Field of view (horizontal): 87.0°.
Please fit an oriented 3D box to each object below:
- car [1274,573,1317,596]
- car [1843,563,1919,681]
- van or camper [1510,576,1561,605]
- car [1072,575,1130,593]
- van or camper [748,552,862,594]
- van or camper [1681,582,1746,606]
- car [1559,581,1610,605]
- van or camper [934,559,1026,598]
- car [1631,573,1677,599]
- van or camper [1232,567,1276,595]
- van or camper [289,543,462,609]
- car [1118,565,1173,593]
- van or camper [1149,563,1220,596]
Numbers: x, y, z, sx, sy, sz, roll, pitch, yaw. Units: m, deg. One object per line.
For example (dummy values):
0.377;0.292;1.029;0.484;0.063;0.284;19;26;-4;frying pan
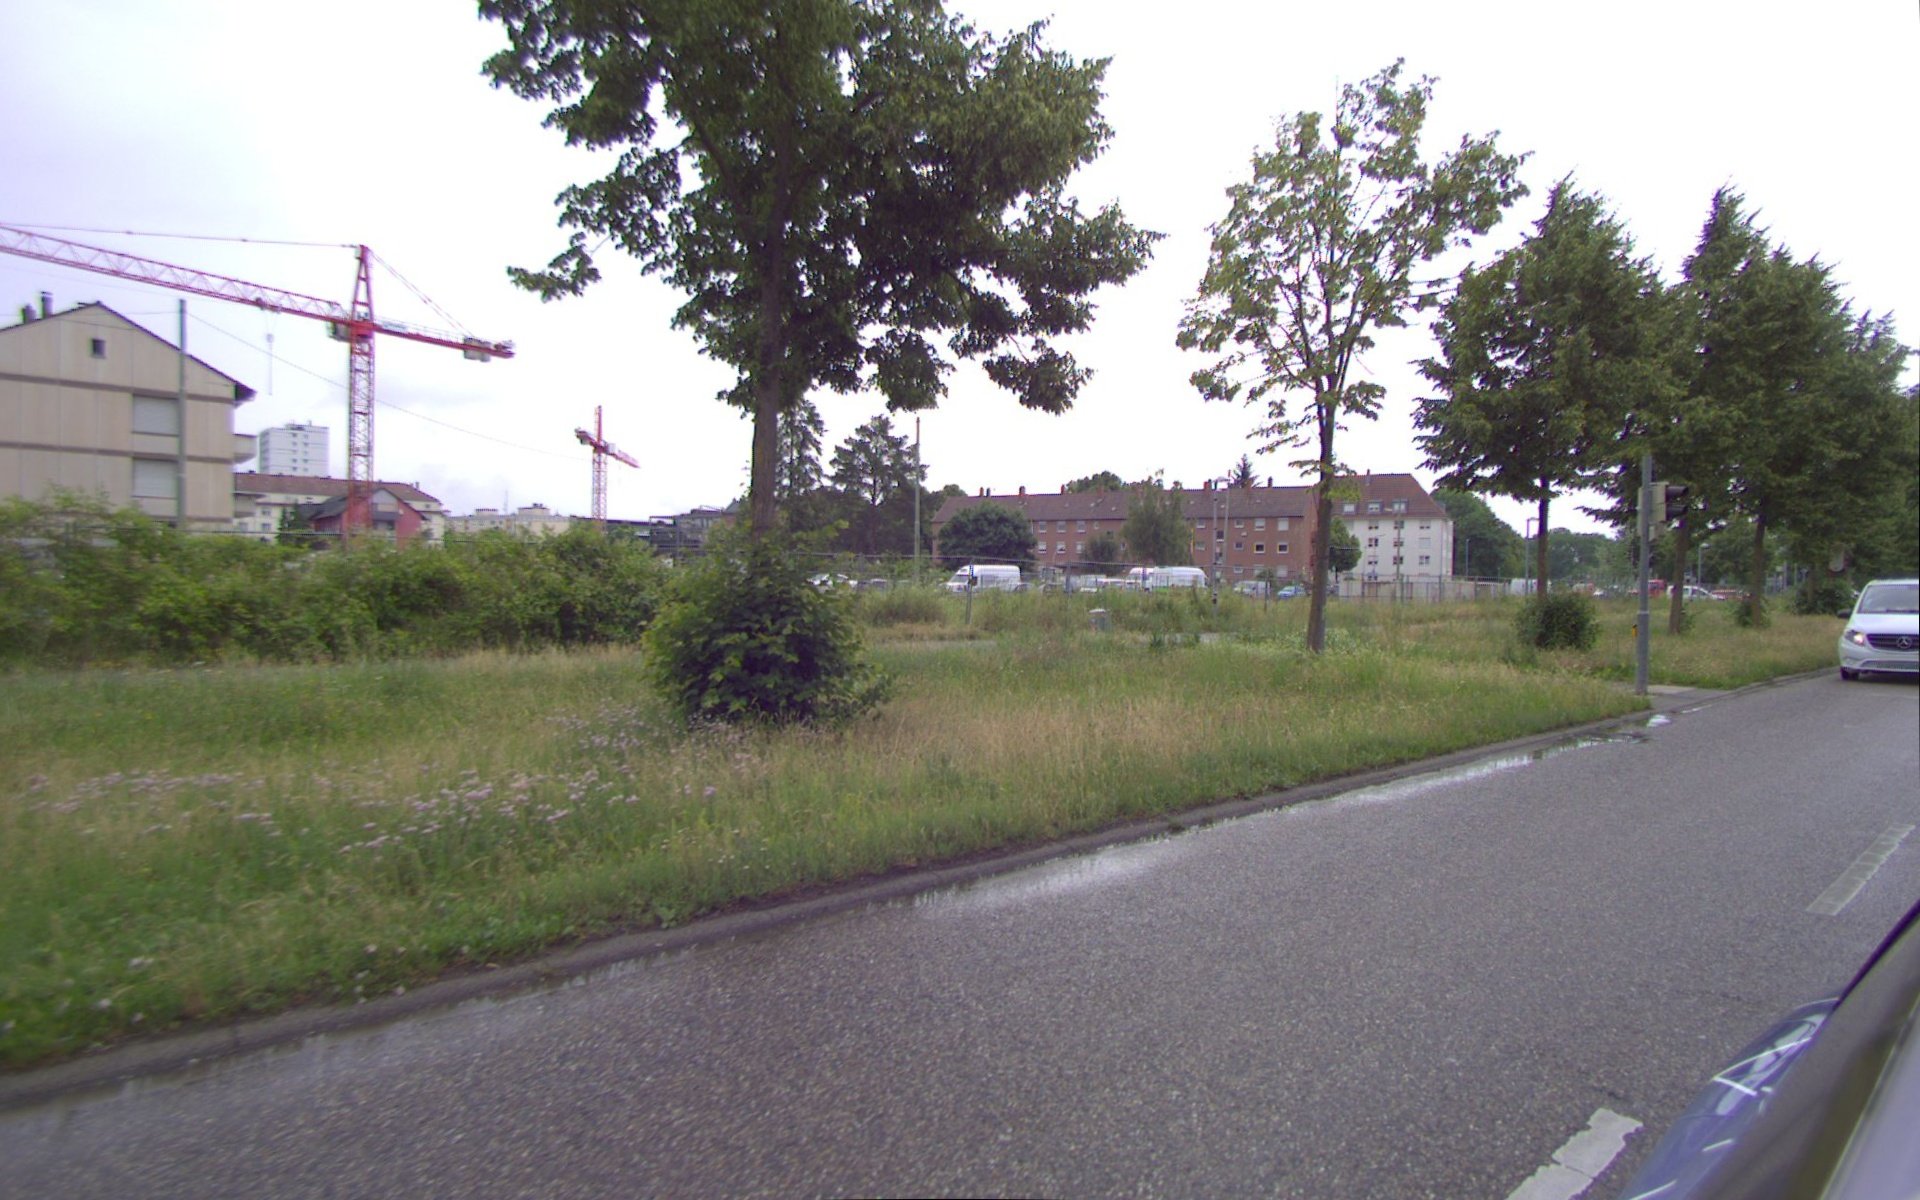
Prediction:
33.885;-1.567;102.177;4.681;2.247;2.273;0;1;-44;car
18.168;0.341;18.824;5.003;2.004;1.971;-1;2;-41;car
62.425;-1.057;109.724;5.400;3.073;2.349;0;0;-30;van or camper
11.144;-1.265;79.701;4.681;1.369;2.092;0;1;-44;car
-9.212;-1.553;60.718;6.536;2.337;2.505;0;0;-43;van or camper
64.787;-0.557;87.034;4.322;2.039;1.831;1;0;44;van or camper
62.753;-0.721;101.680;5.339;2.339;2.200;0;0;-32;car
1.450;-1.452;70.335;6.311;2.568;2.779;0;1;-43;van or camper
65.866;-1.317;96.021;3.918;2.339;2.003;0;0;-28;car
27.802;-1.787;95.743;1.912;2.568;5.181;1;0;42;van or camper
-25.759;-1.049;44.809;6.289;2.722;2.311;0;2;-43;van or camper
15.426;-1.749;84.023;4.681;2.247;2.273;0;1;-44;car
16.998;-1.510;76.444;6.045;2.336;2.205;0;1;-43;van or camper
